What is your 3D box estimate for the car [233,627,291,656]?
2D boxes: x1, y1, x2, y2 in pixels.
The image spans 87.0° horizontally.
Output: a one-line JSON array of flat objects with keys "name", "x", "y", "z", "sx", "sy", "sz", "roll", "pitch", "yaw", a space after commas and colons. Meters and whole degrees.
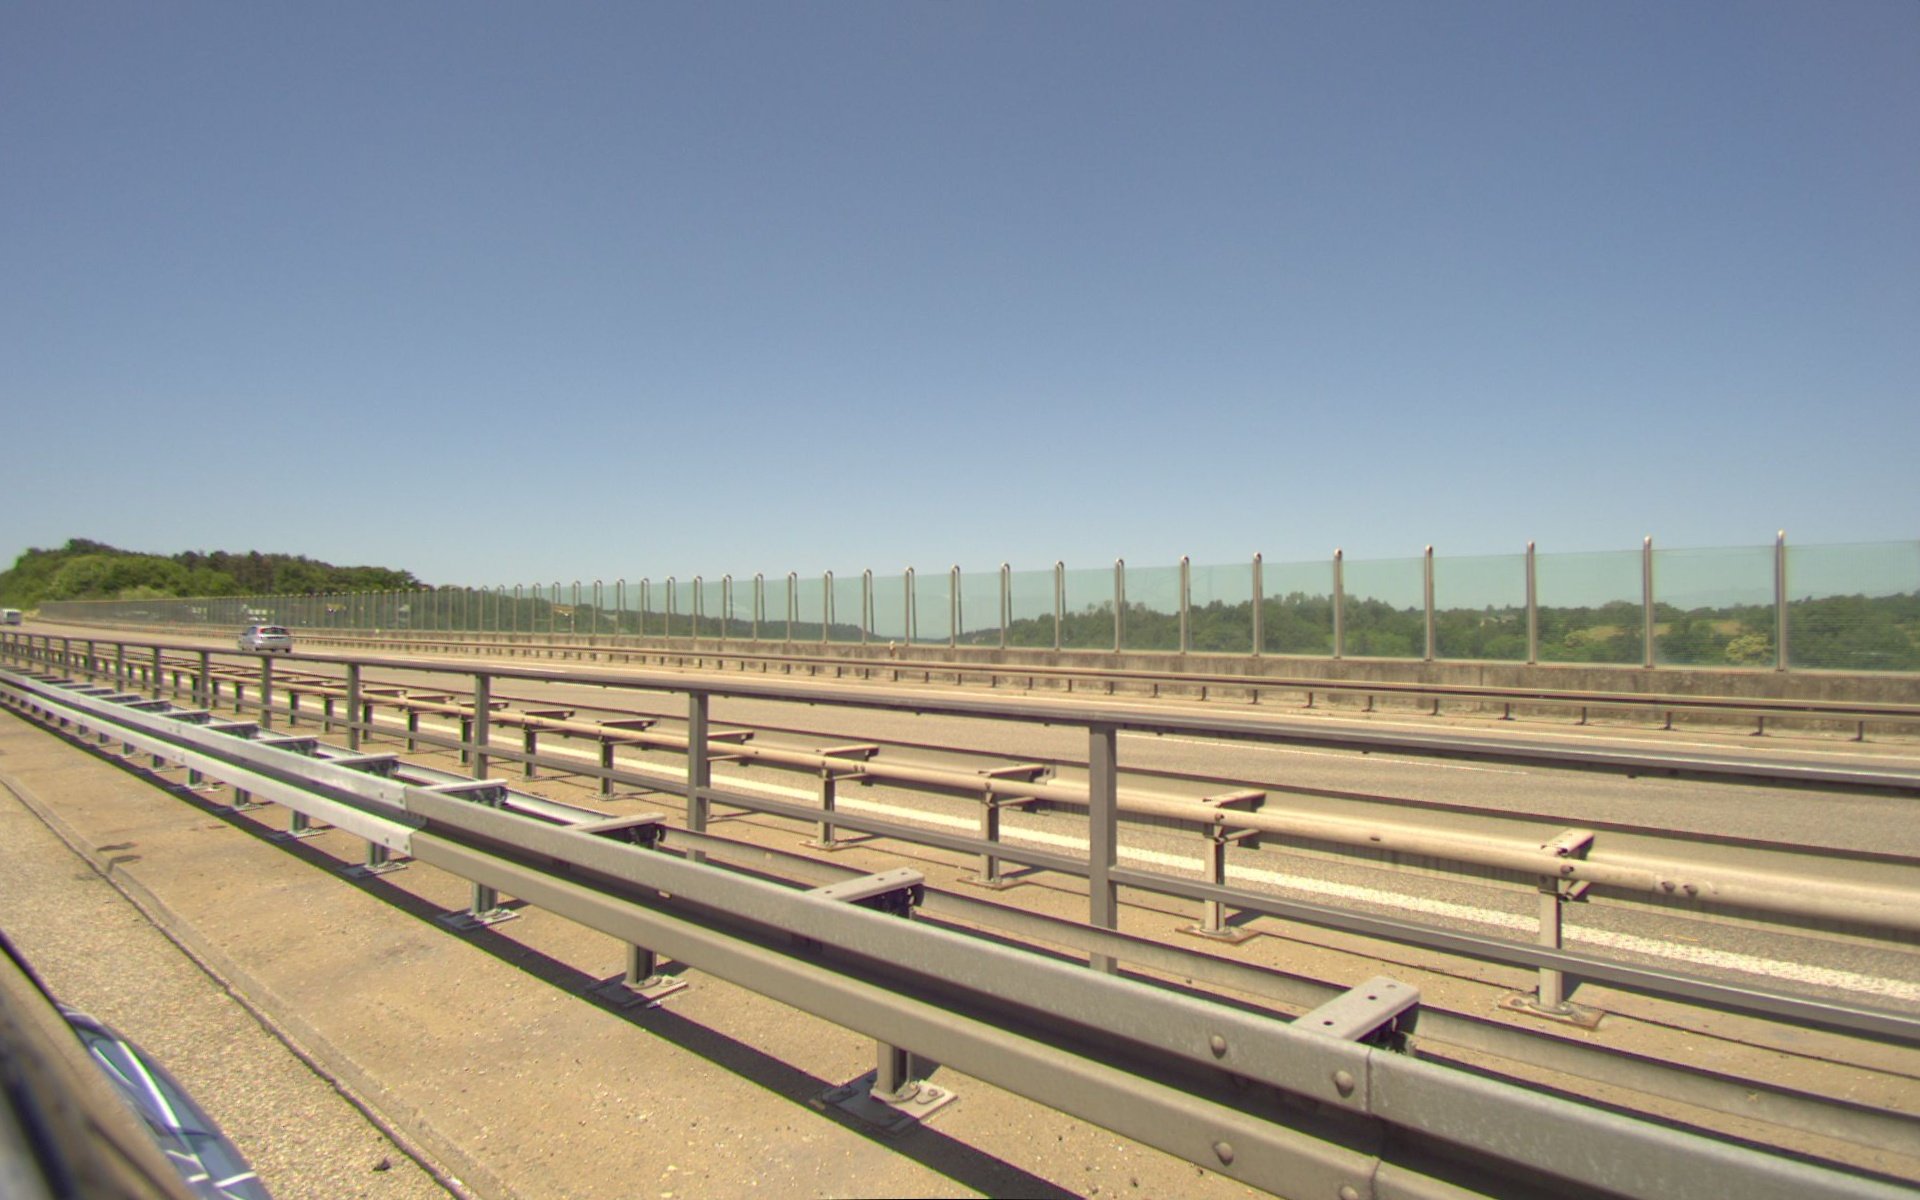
[{"name": "car", "x": -36.164, "y": 2.137, "z": 52.398, "sx": 3.675, "sy": 1.405, "sz": 1.587, "roll": 0, "pitch": -3, "yaw": 41}]

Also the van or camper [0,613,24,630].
[{"name": "van or camper", "x": -131.331, "y": 3.029, "z": 139.994, "sx": 5.534, "sy": 2.228, "sz": 1.973, "roll": 0, "pitch": -3, "yaw": 41}]

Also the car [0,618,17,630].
[{"name": "car", "x": -135.016, "y": 3.363, "z": 143.187, "sx": 4.198, "sy": 1.557, "sz": 1.836, "roll": 0, "pitch": -3, "yaw": 41}]
